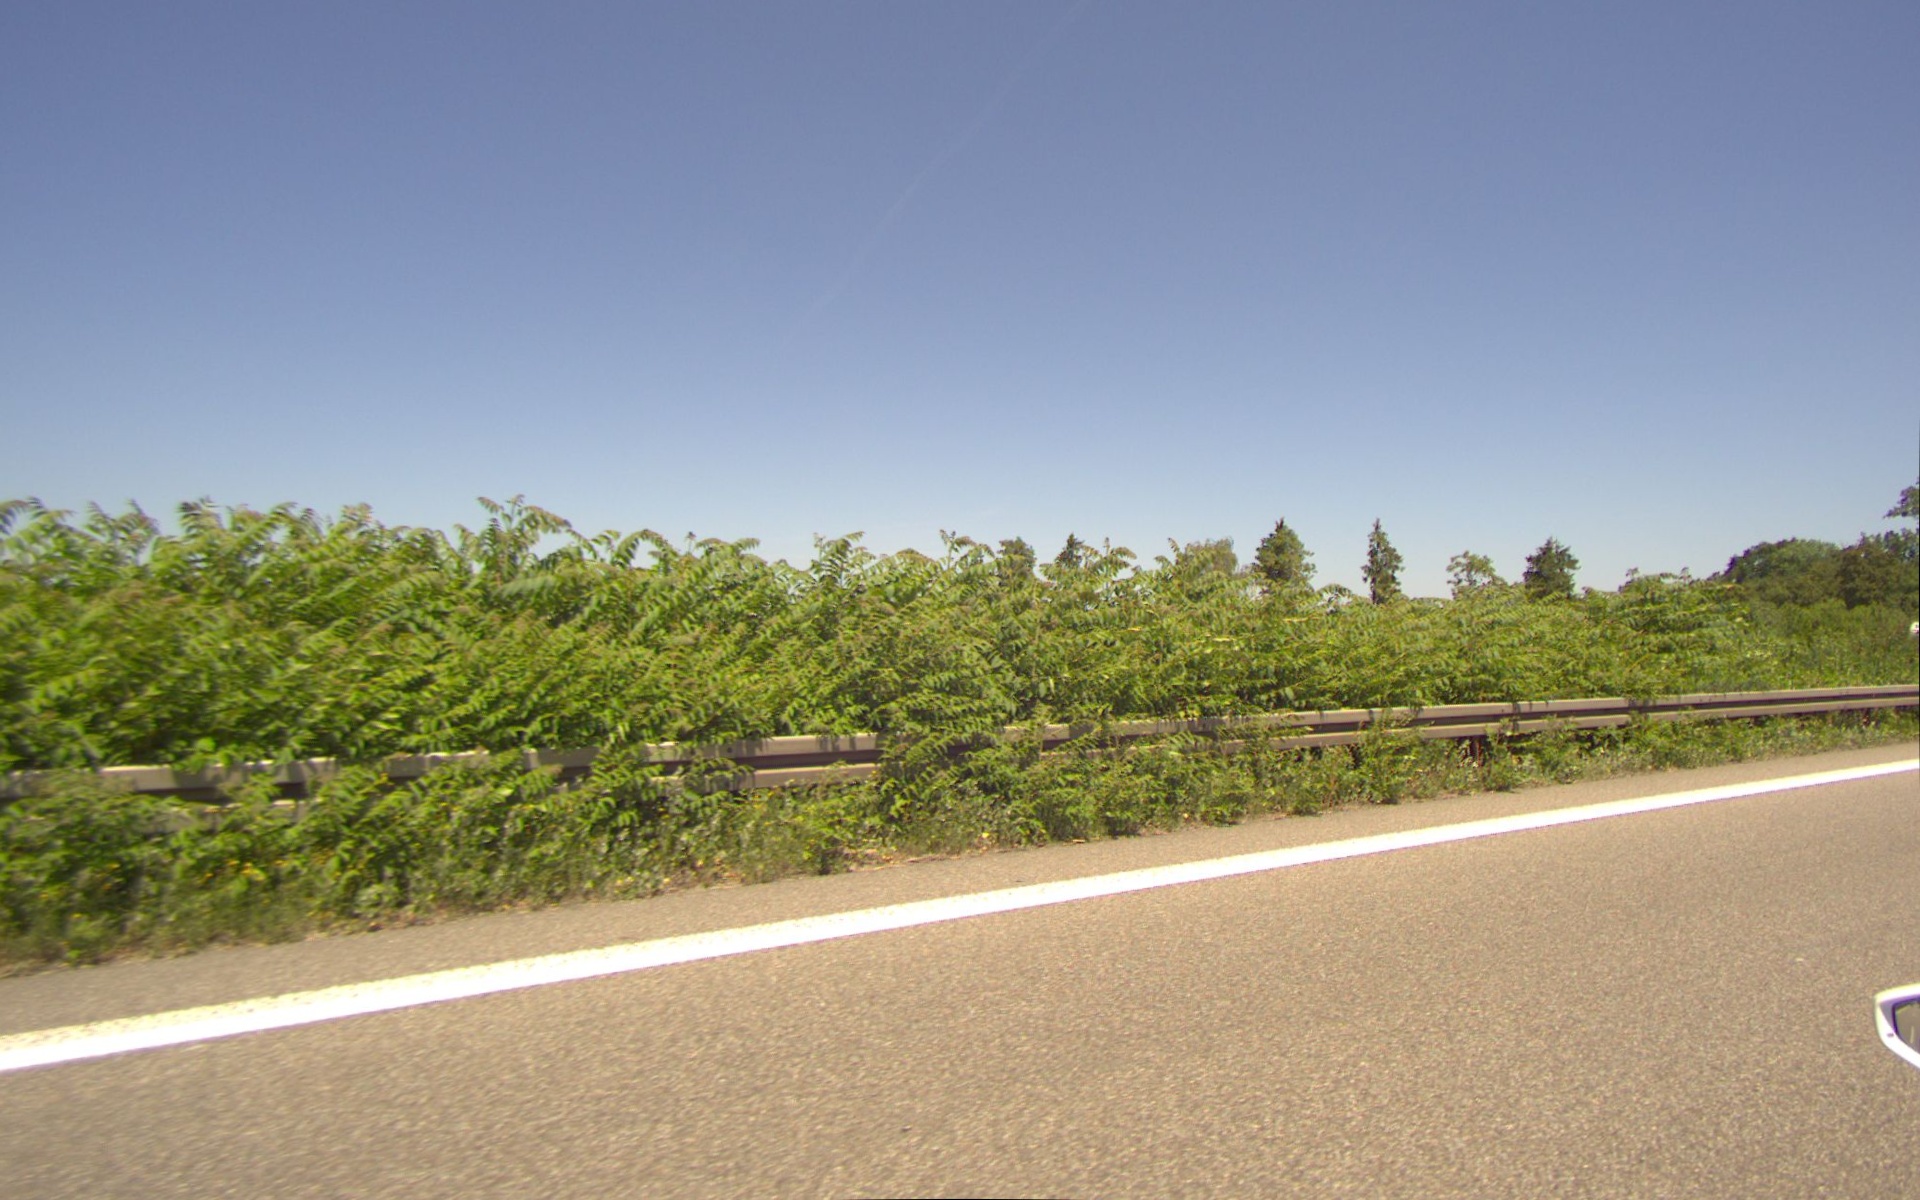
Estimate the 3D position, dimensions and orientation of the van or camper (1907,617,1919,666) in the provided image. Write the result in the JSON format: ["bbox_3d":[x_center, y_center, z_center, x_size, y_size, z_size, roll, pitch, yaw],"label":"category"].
[{"bbox_3d":[54.093,2.308,54.716,6.225,2.579,1.984,2,0,-31],"label":"van or camper"}]
